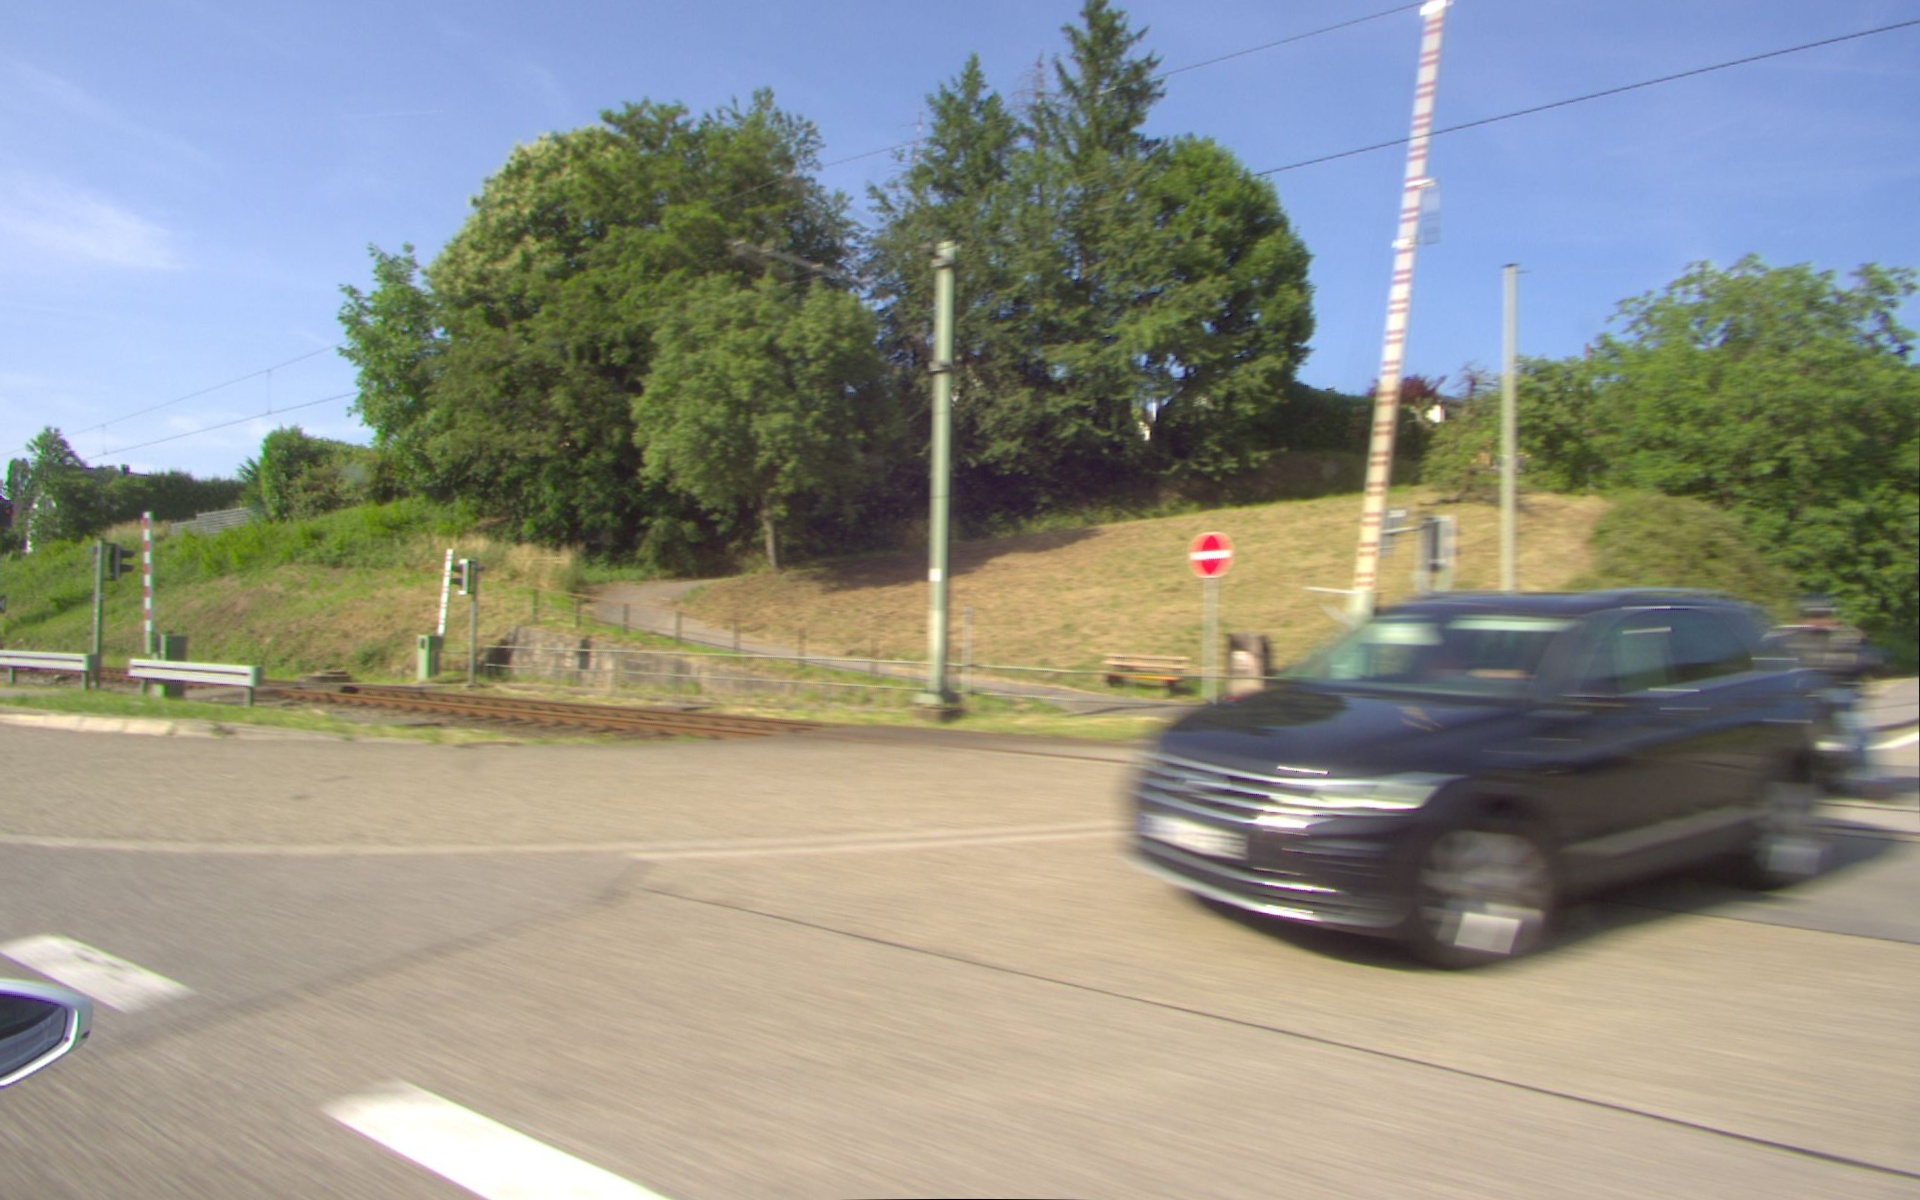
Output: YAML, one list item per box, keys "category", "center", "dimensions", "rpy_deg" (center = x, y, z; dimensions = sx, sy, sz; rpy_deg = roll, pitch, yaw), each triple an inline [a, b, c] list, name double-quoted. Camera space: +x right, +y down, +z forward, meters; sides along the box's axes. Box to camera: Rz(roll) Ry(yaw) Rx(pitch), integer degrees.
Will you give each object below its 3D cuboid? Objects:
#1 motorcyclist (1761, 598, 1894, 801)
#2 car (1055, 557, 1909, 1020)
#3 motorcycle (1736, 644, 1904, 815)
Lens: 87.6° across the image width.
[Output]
- category: "motorcyclist"
  center: [7.460, 0.823, 8.608]
  dimensions: [0.900, 1.617, 0.758]
  rpy_deg: [3, -2, -42]
- category: "car"
  center: [3.013, 0.739, 5.587]
  dimensions: [4.671, 1.681, 1.922]
  rpy_deg: [1, -1, -28]
- category: "motorcycle"
  center: [7.364, 1.043, 8.537]
  dimensions: [2.078, 1.270, 0.792]
  rpy_deg: [4, -3, -41]
